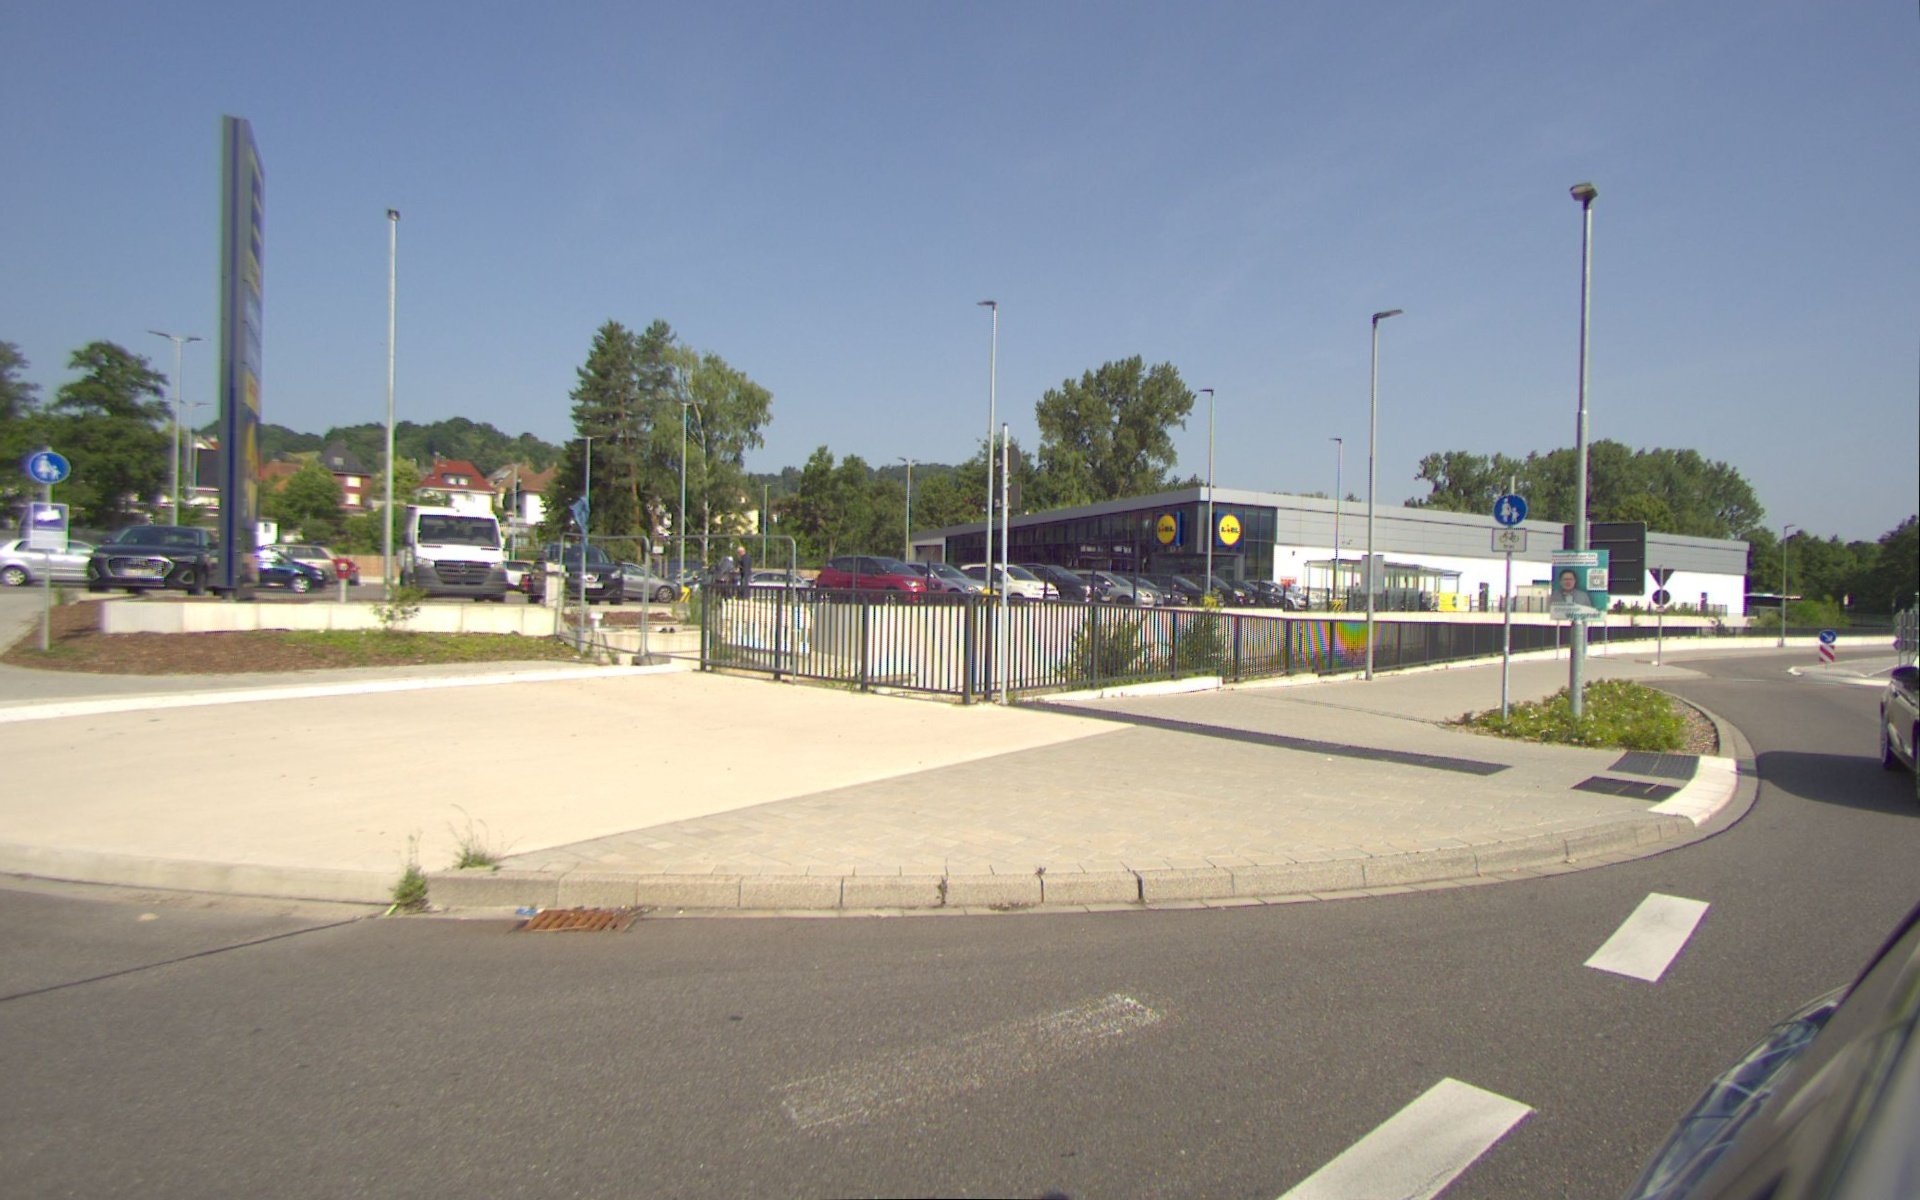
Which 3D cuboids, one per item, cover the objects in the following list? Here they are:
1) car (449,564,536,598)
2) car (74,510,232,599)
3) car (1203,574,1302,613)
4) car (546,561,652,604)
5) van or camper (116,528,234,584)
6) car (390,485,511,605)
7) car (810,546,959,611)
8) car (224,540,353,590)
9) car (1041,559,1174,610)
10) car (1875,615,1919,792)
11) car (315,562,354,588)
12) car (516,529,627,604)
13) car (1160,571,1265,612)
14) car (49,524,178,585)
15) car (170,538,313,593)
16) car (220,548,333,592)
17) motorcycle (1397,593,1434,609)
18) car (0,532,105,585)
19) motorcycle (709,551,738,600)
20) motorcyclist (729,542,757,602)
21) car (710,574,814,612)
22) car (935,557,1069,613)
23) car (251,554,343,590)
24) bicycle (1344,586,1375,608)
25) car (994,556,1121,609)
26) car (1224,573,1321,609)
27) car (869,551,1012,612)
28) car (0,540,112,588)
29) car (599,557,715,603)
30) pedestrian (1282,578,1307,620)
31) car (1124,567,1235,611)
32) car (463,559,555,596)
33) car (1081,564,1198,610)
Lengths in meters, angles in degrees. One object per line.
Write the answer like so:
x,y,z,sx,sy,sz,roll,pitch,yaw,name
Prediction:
-23.622,-0.941,51.135,3.715,1.594,1.763,1,-2,-35,car
-16.966,-0.850,21.537,1.884,1.550,4.864,1,-2,-30,car
13.117,-0.257,45.498,3.978,1.594,1.680,-1,-2,38,car
-14.491,-0.670,40.725,3.715,1.594,1.665,1,-2,-35,car
-45.038,-2.488,58.238,5.186,2.884,2.294,1,-2,-36,van or camper
-12.459,-1.158,24.506,2.020,2.414,6.094,1,-2,-32,car
-2.107,-0.516,27.668,4.004,1.594,1.753,-1,-2,41,car
-23.853,-1.208,36.034,3.715,1.594,1.763,1,-2,-35,car
5.115,-0.493,35.477,4.391,1.594,1.680,-1,-2,38,car
8.763,0.838,8.185,1.713,1.339,4.164,0,-2,38,car
-43.571,-1.702,70.482,1.732,1.594,3.779,1,-2,-41,car
-9.855,-0.761,25.444,1.797,1.623,4.479,1,-2,-32,car
10.621,-0.322,42.709,3.978,1.594,1.680,-1,-2,38,car
-40.576,-2.136,48.676,4.559,2.651,1.999,1,-2,-36,car
-23.420,-1.075,33.122,3.715,1.594,1.763,1,-2,-35,car
-27.685,-1.165,41.072,3.715,1.594,1.763,1,-2,-35,car
25.547,0.042,56.785,1.855,0.875,0.622,-1,-2,21,motorcycle
-27.872,-1.226,30.080,3.561,1.464,1.525,1,-2,-34,car
-6.239,-0.612,26.747,0.578,1.206,1.906,1,-1,-9,motorcycle
-5.801,-0.739,27.070,0.508,1.563,0.579,-1,-2,17,motorcyclist
-8.296,-0.278,42.483,3.927,1.476,1.798,1,-2,-39,car
1.280,-0.421,31.674,3.978,1.594,1.680,-1,-2,38,car
-32.506,-1.335,49.654,3.715,1.594,1.763,1,-2,-35,car
21.208,-0.153,53.698,1.843,1.108,0.627,1,-2,-35,bicycle
3.205,-0.534,33.719,3.978,1.594,1.680,-1,-2,38,car
14.886,-0.383,48.248,4.108,1.594,1.680,-1,-2,38,car
-0.606,-0.477,29.319,4.004,1.594,1.753,-1,-2,41,car
-29.494,-1.145,32.564,3.309,1.391,1.522,2,-1,-43,car
-11.894,-0.753,39.787,3.927,1.639,1.998,1,-2,-39,car
16.197,-0.038,49.003,0.847,2.040,0.832,1,-2,-37,pedestrian
8.658,-0.386,40.002,3.978,1.594,1.680,-1,-2,38,car
-21.338,-1.020,47.959,3.715,1.594,1.763,1,-2,-35,car
6.635,-0.442,37.622,3.978,1.594,1.680,-1,-2,38,car
